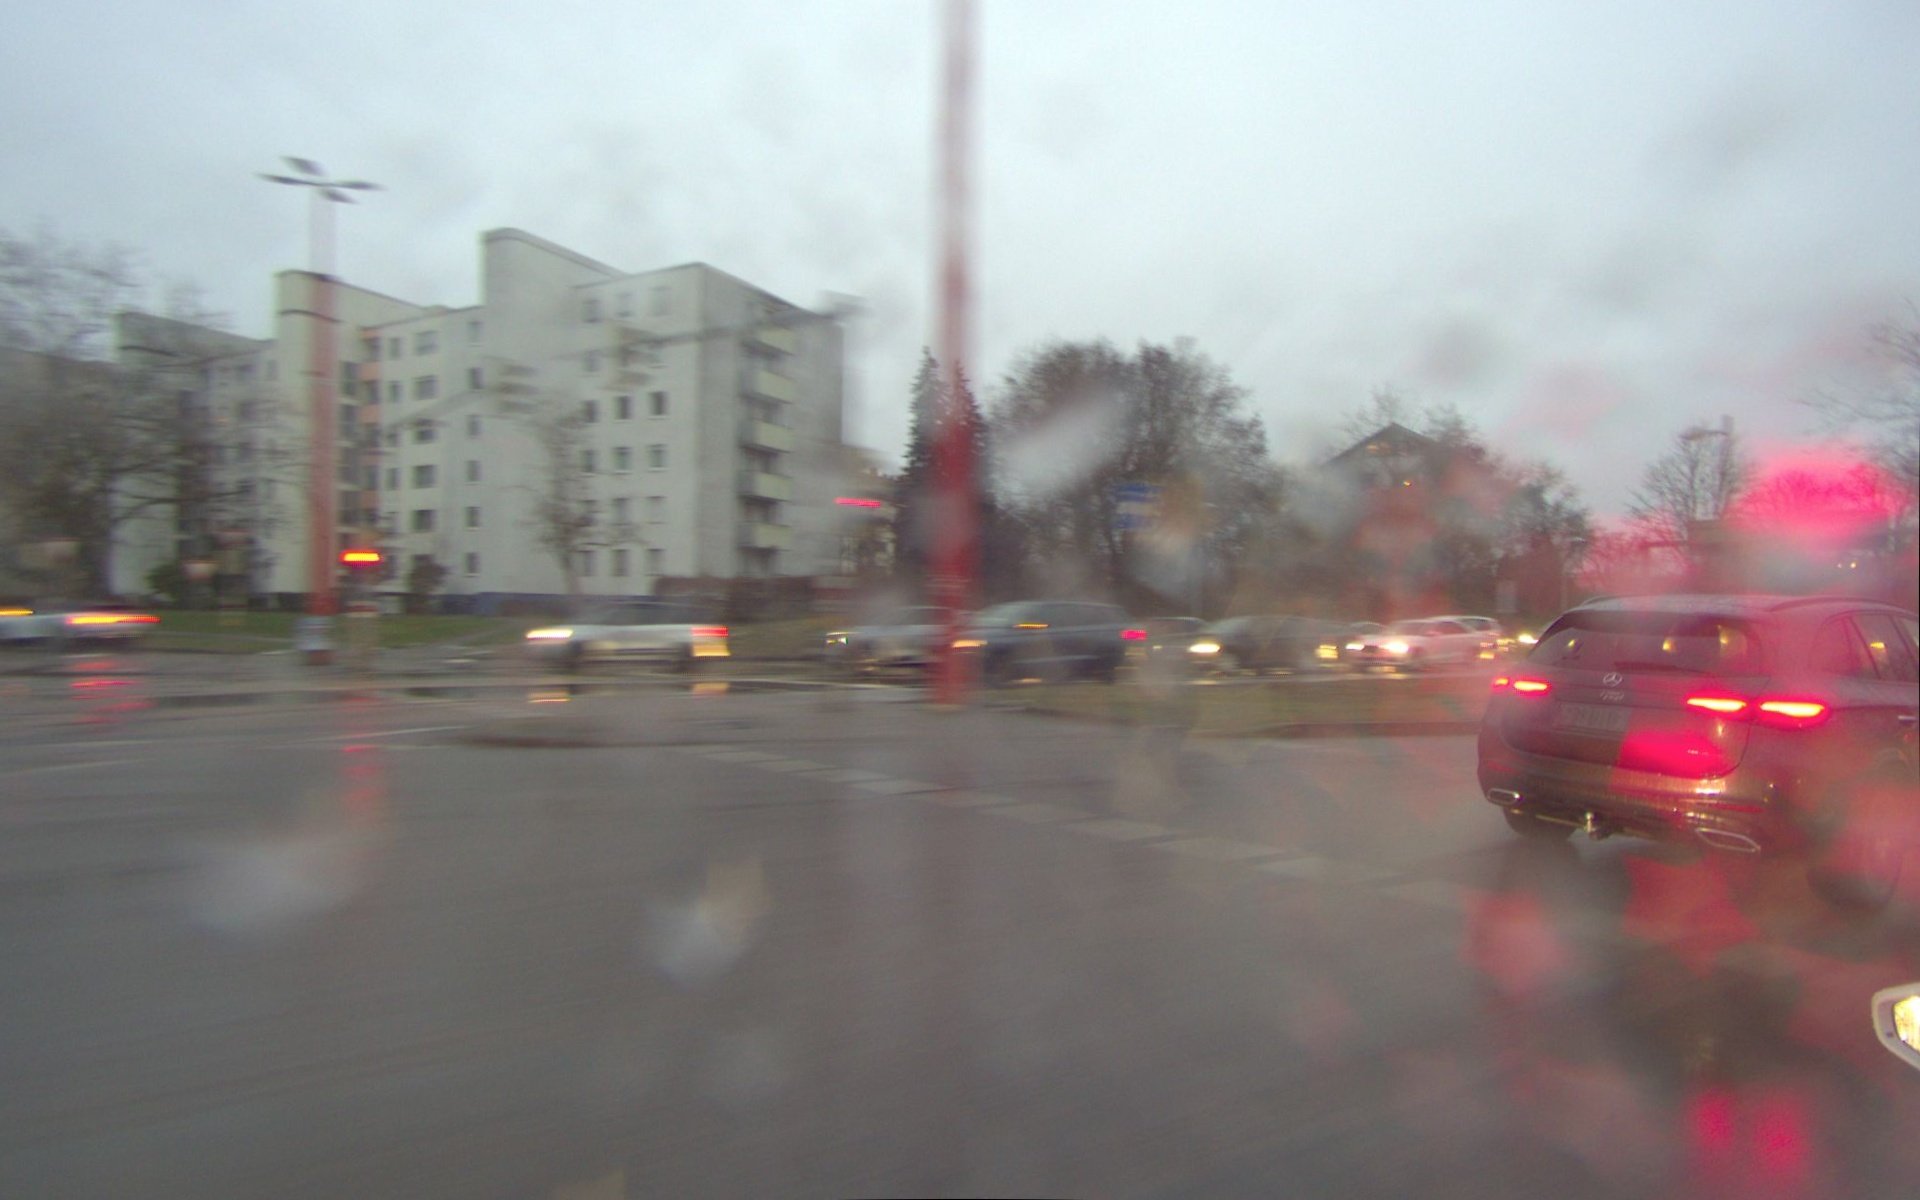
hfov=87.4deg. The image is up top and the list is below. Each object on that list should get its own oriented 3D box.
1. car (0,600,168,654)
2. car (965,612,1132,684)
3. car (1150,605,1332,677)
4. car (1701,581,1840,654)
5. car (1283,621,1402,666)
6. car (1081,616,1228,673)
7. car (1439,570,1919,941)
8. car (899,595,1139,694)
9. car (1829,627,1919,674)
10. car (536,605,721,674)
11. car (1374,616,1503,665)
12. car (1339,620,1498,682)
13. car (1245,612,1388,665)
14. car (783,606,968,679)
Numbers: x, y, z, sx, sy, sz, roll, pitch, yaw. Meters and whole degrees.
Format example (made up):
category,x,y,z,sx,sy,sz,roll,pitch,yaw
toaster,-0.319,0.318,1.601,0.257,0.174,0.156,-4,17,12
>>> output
category,x,y,z,sx,sy,sz,roll,pitch,yaw
car,-27.785,0.823,31.519,4.504,1.550,2.001,1,-1,7
car,1.946,1.010,21.883,3.287,1.439,1.644,1,-1,-31
car,6.851,0.955,24.402,4.237,1.620,1.848,1,-1,-31
car,37.117,0.826,45.947,7.256,3.045,2.282,2,0,-29
car,14.053,1.571,36.852,4.388,1.515,1.761,1,-1,-31
car,5.339,1.198,27.448,3.864,1.446,1.613,1,-1,-31
car,5.284,0.760,6.416,4.412,1.670,1.814,2,-1,-29
car,1.109,0.767,18.237,4.033,1.603,1.847,1,-1,-32
car,33.263,1.759,36.003,4.784,1.557,1.761,1,-1,-31
car,-7.864,0.916,23.879,3.966,1.515,1.612,1,-1,-28
car,16.090,1.338,33.716,4.388,1.515,1.761,1,-1,-31
car,12.682,1.370,27.697,4.472,1.554,1.761,1,-1,-31
car,10.983,1.154,30.853,4.388,1.515,1.761,1,-1,-31
car,-1.930,0.953,23.276,3.902,1.574,1.761,1,-1,-31
